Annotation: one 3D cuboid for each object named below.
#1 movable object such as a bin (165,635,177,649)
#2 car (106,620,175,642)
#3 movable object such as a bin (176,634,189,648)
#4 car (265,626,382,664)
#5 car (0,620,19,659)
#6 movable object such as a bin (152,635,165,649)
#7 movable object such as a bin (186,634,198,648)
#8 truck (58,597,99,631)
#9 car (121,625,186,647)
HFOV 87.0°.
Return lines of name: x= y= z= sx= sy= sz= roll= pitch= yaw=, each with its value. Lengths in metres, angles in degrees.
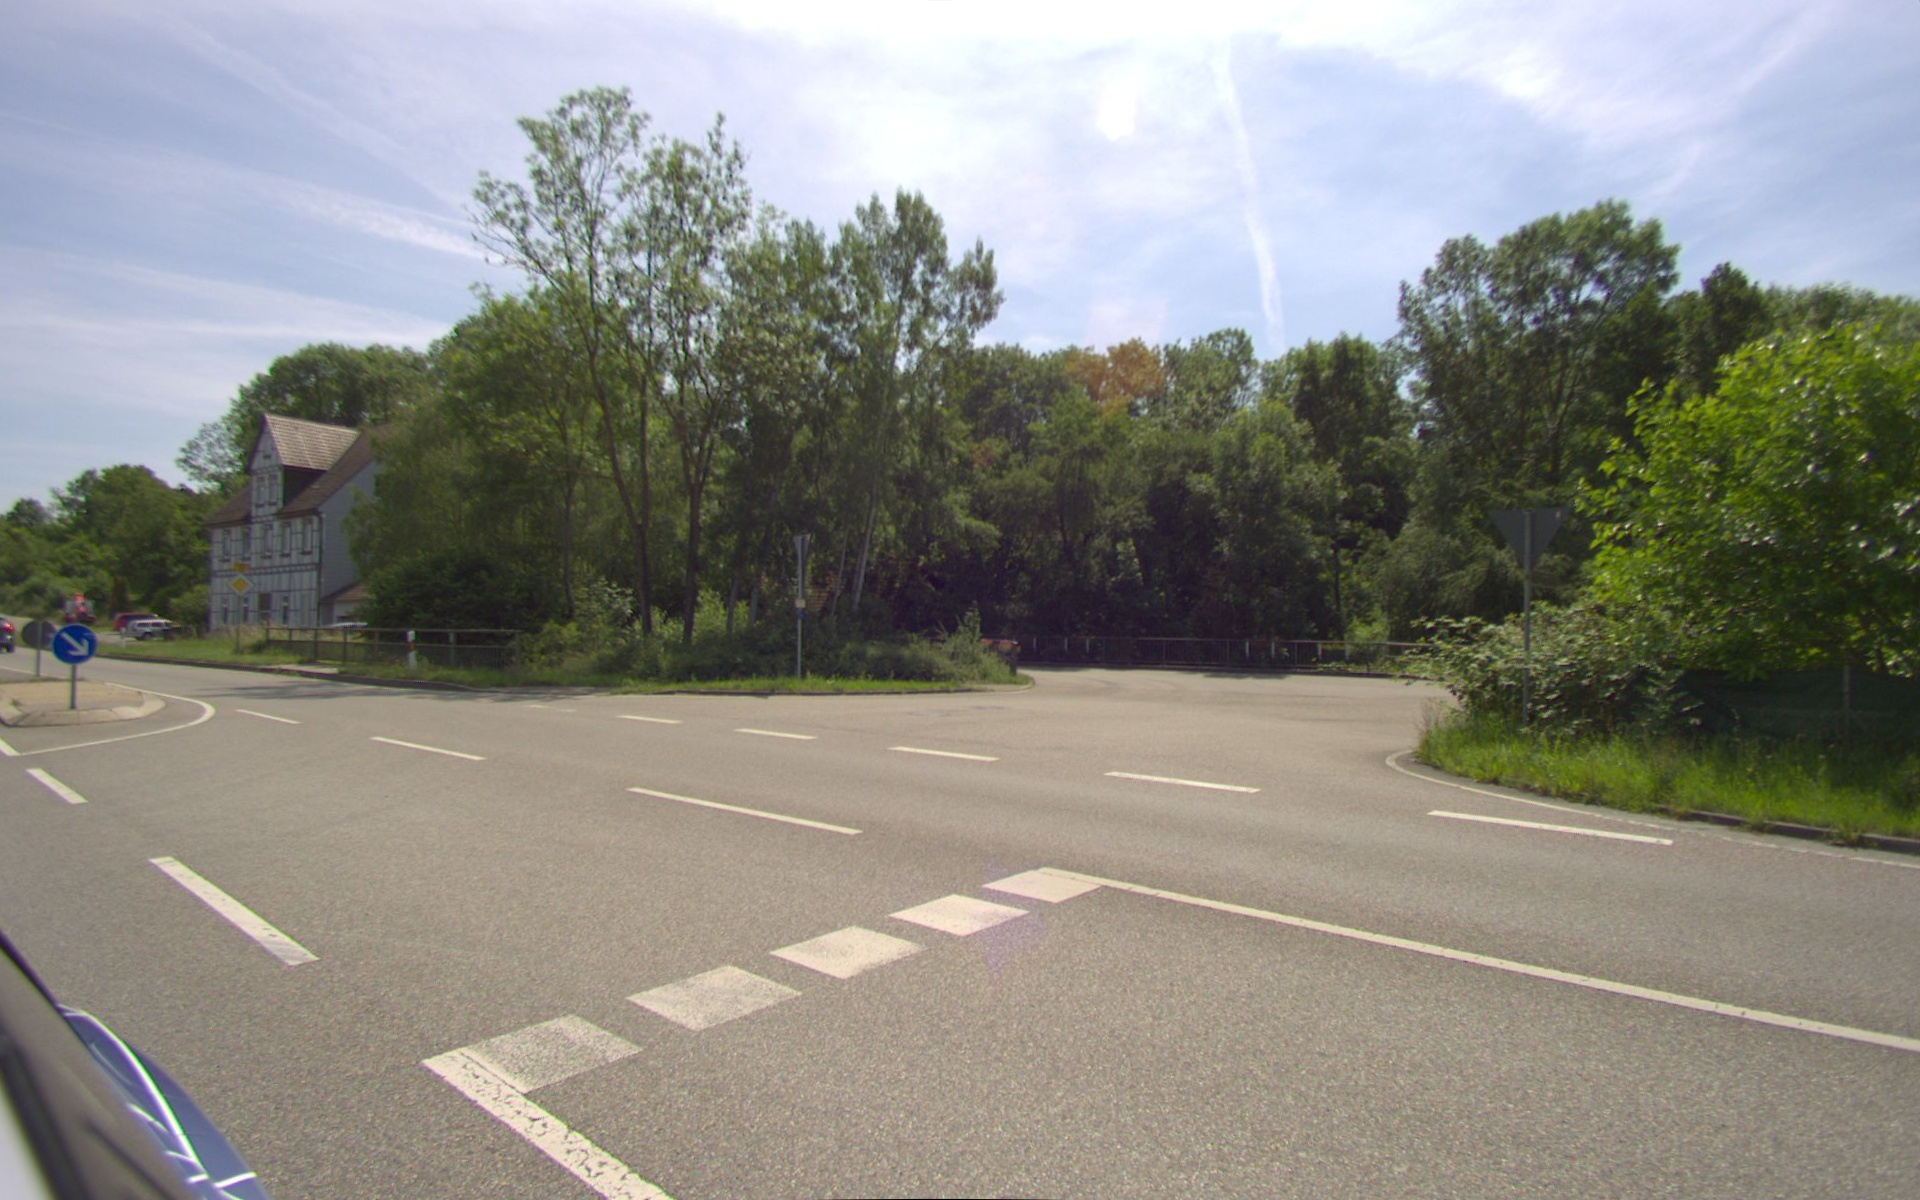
movable object such as a bin: x=-56.308 y=2.968 z=72.225 sx=0.653 sy=0.977 sz=0.499 roll=1 pitch=0 yaw=33
car: x=-65.469 y=2.449 z=80.880 sx=1.832 sy=1.631 sz=3.985 roll=0 pitch=0 yaw=41
movable object such as a bin: x=-55.940 y=2.927 z=72.817 sx=0.653 sy=0.978 sz=0.499 roll=1 pitch=0 yaw=33
car: x=-31.797 y=2.230 z=50.675 sx=1.858 sy=1.733 sz=4.621 roll=-3 pitch=-2 yaw=36
car: x=-43.591 y=1.743 z=45.075 sx=4.428 sy=1.667 sz=1.928 roll=-1 pitch=-2 yaw=40
movable object such as a bin: x=-56.749 y=2.940 z=71.651 sx=0.653 sy=0.943 sz=0.499 roll=1 pitch=0 yaw=33
movable object such as a bin: x=-55.591 y=2.956 z=73.266 sx=0.653 sy=0.984 sz=0.499 roll=1 pitch=0 yaw=33
truck: x=-81.877 y=1.266 z=93.986 sx=6.771 sy=2.986 sz=2.005 roll=0 pitch=0 yaw=41
car: x=-58.547 y=2.605 z=73.517 sx=1.606 sy=1.476 sz=3.348 roll=0 pitch=0 yaw=34
